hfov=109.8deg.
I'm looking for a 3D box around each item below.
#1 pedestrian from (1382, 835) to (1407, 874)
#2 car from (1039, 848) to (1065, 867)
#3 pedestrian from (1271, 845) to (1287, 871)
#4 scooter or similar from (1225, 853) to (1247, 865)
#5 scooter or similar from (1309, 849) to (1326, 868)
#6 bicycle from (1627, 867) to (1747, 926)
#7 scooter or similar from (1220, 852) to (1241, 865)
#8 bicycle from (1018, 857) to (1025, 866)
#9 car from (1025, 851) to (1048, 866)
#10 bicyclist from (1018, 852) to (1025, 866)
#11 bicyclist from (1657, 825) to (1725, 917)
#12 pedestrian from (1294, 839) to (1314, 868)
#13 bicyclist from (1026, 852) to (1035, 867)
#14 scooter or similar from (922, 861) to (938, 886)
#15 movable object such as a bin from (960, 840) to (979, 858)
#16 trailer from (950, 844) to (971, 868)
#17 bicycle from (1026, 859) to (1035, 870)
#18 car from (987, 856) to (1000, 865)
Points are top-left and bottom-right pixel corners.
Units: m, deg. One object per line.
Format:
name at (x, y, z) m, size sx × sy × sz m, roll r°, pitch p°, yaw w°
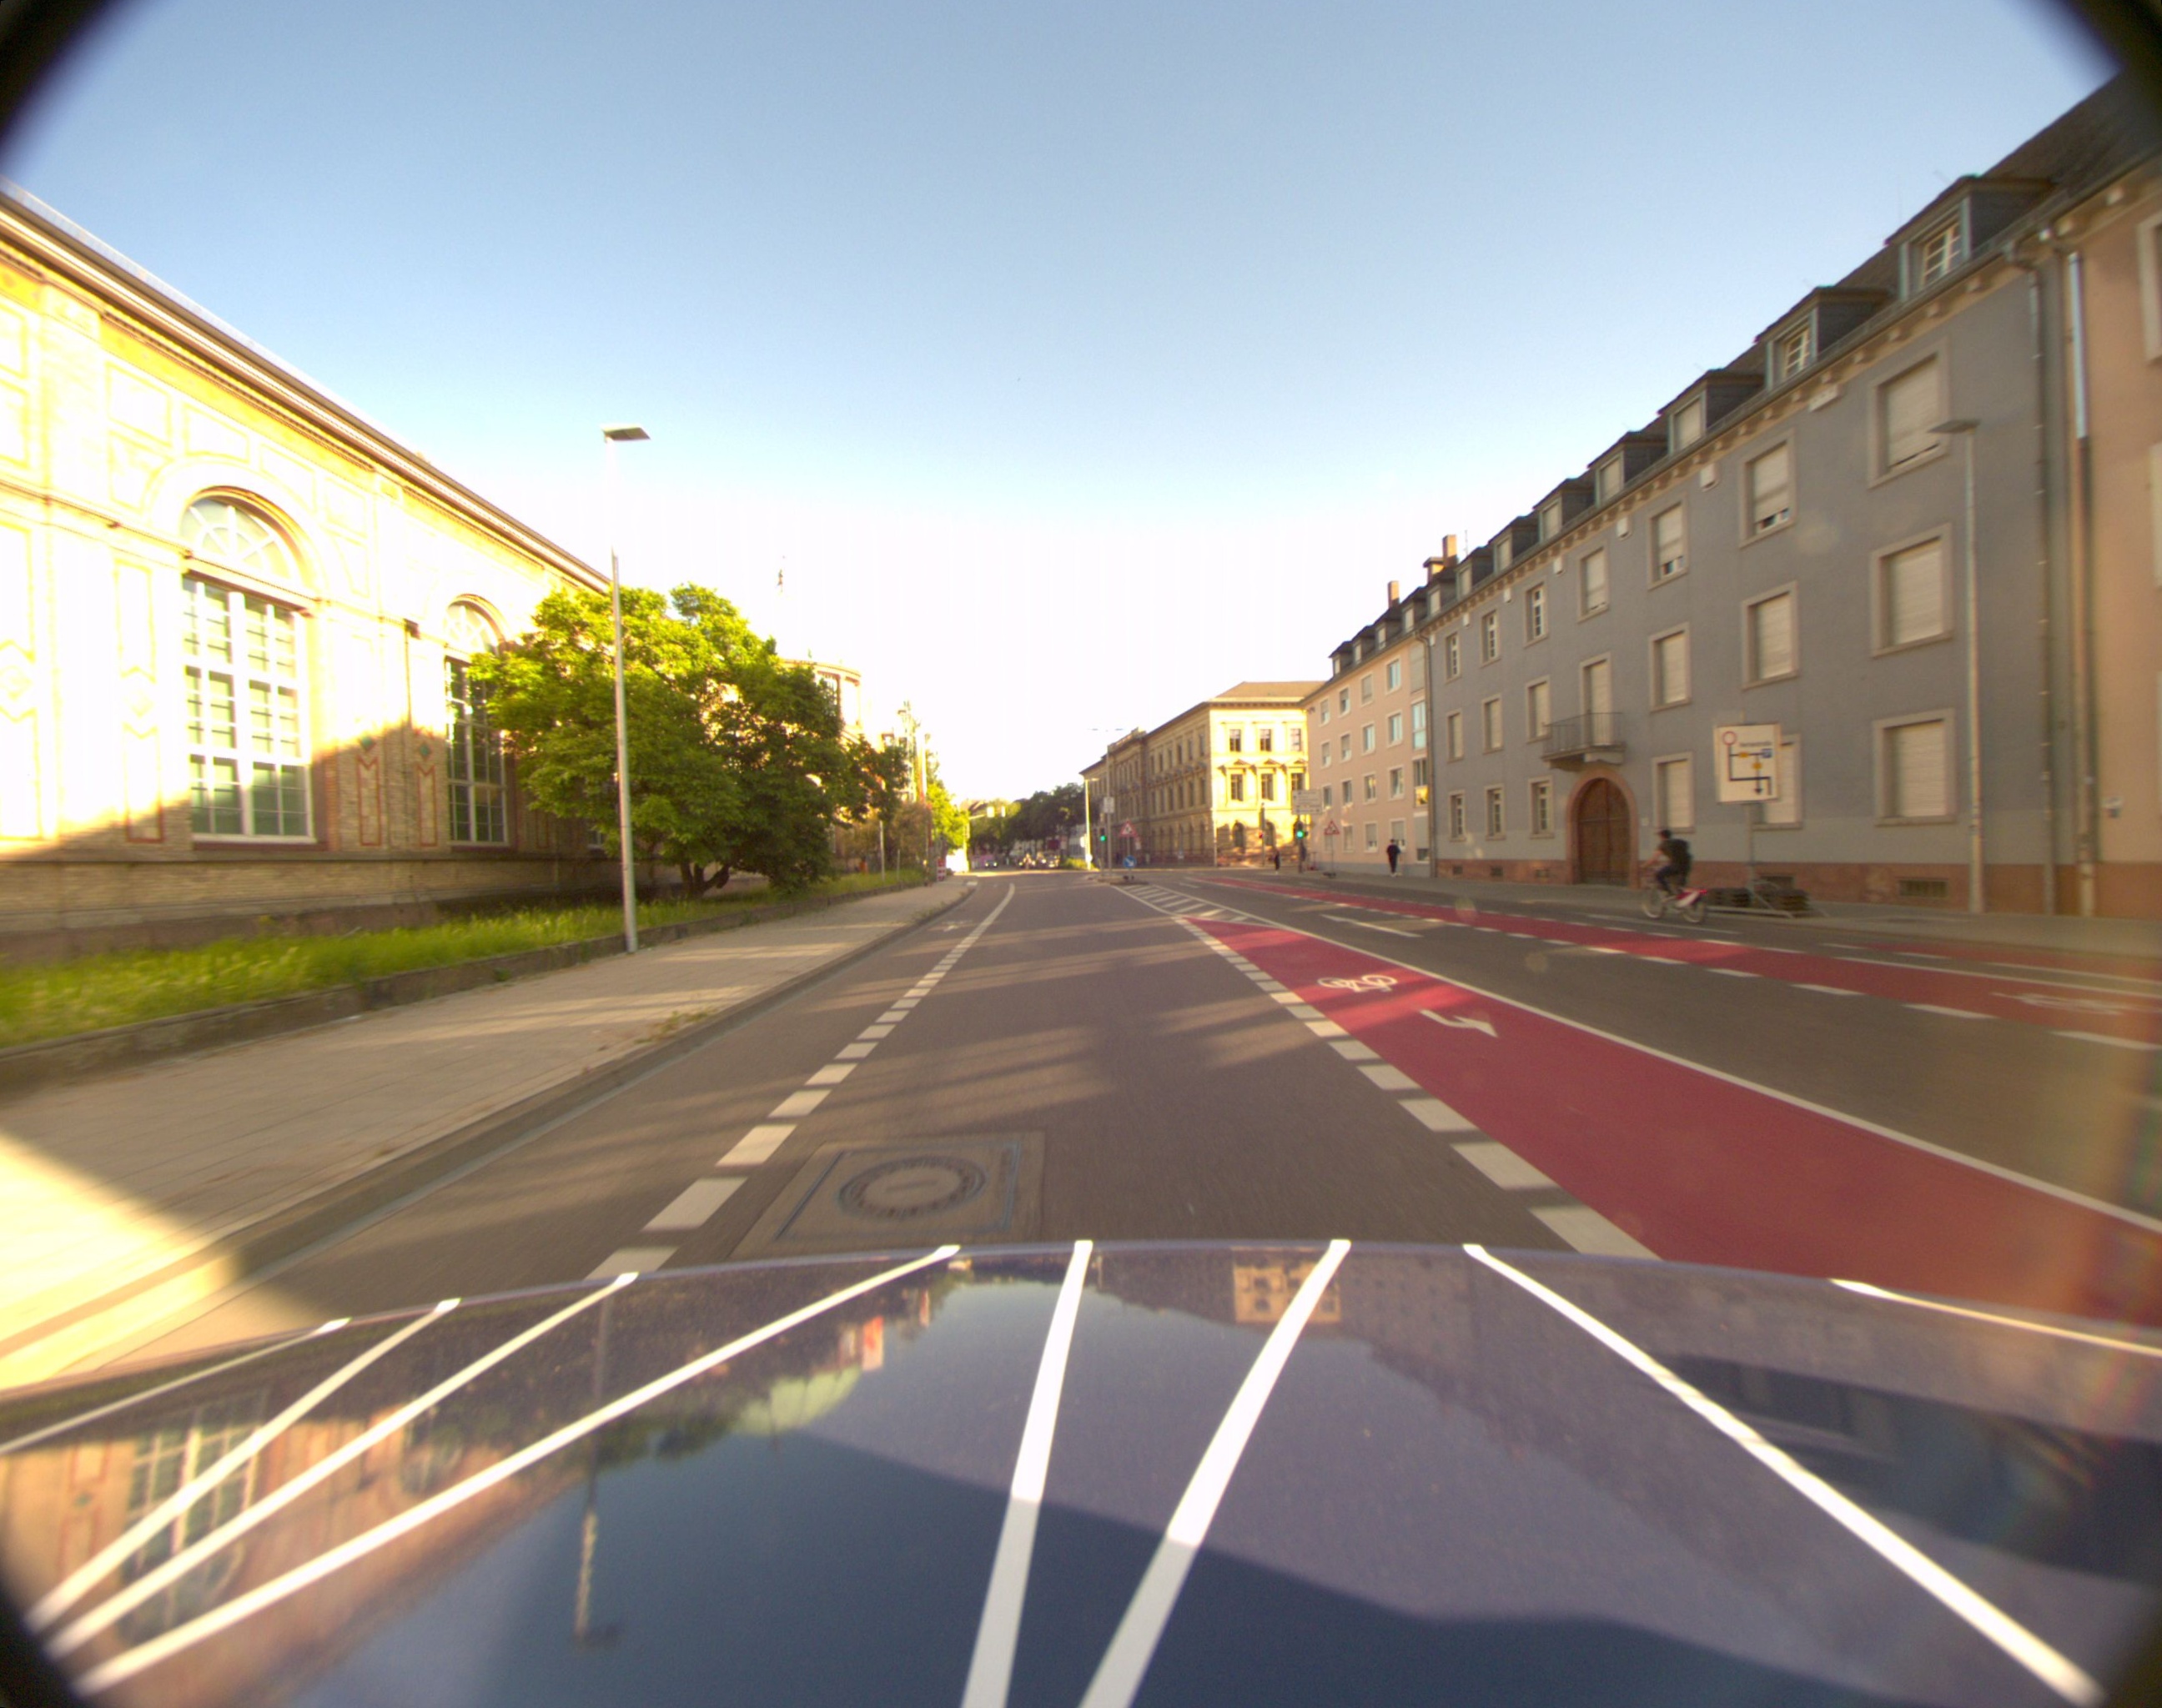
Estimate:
pedestrian at (15.311, 0.021, 37.113) m, size 0.633 × 1.836 × 1.013 m, roll -5°, pitch 1°, yaw -2°
car at (-3.219, 0.341, 82.406) m, size 2.075 × 1.904 × 5.027 m, roll -2°, pitch 1°, yaw -11°
pedestrian at (12.534, 0.265, 48.059) m, size 0.633 × 1.574 × 0.818 m, roll -5°, pitch 1°, yaw -2°
scooter or similar at (15.272, 0.486, 74.951) m, size 2.033 × 1.046 × 0.456 m, roll -2°, pitch 1°, yaw -6°
scooter or similar at (15.233, 0.292, 48.997) m, size 0.535 × 1.179 × 1.473 m, roll -3°, pitch 1°, yaw -1°
bicycle at (11.548, 0.772, 14.577) m, size 0.648 × 0.990 × 2.109 m, roll 0°, pitch 1°, yaw 1°
scooter or similar at (14.597, 0.444, 74.189) m, size 2.029 × 1.181 × 0.456 m, roll -1°, pitch 1°, yaw 19°
bicycle at (-7.064, 0.903, 90.263) m, size 0.671 × 1.066 × 1.751 m, roll -3°, pitch 1°, yaw -9°
car at (-5.451, 0.562, 92.267) m, size 1.998 × 1.739 × 4.742 m, roll -2°, pitch 0°, yaw -13°
bicyclist at (-7.079, 0.593, 90.311) m, size 0.675 × 1.643 × 0.886 m, roll -3°, pitch 1°, yaw -10°
bicyclist at (11.567, 0.318, 14.427) m, size 0.637 × 1.700 × 0.738 m, roll 1°, pitch 1°, yaw 1°
pedestrian at (14.489, -0.035, 49.316) m, size 0.870 × 1.853 × 1.014 m, roll -4°, pitch 1°, yaw -1°
bicyclist at (-5.366, 0.568, 80.593) m, size 0.805 × 1.599 × 0.824 m, roll -2°, pitch 1°, yaw -8°
scooter or similar at (-8.179, 1.023, 41.247) m, size 0.557 × 1.301 × 1.831 m, roll -2°, pitch 0°, yaw -3°
movable object such as a bin at (-21.574, -0.920, 146.584) m, size 3.173 × 3.281 × 4.380 m, roll -1°, pitch 0°, yaw -13°
trailer at (-12.795, 0.184, 80.603) m, size 2.086 × 2.513 × 4.488 m, roll 0°, pitch 0°, yaw -9°
bicycle at (-5.348, 1.077, 80.537) m, size 0.831 × 1.136 × 1.968 m, roll -3°, pitch 1°, yaw -8°
car at (-12.868, 0.928, 111.645) m, size 1.555 × 1.288 × 3.633 m, roll 1°, pitch 0°, yaw -13°
